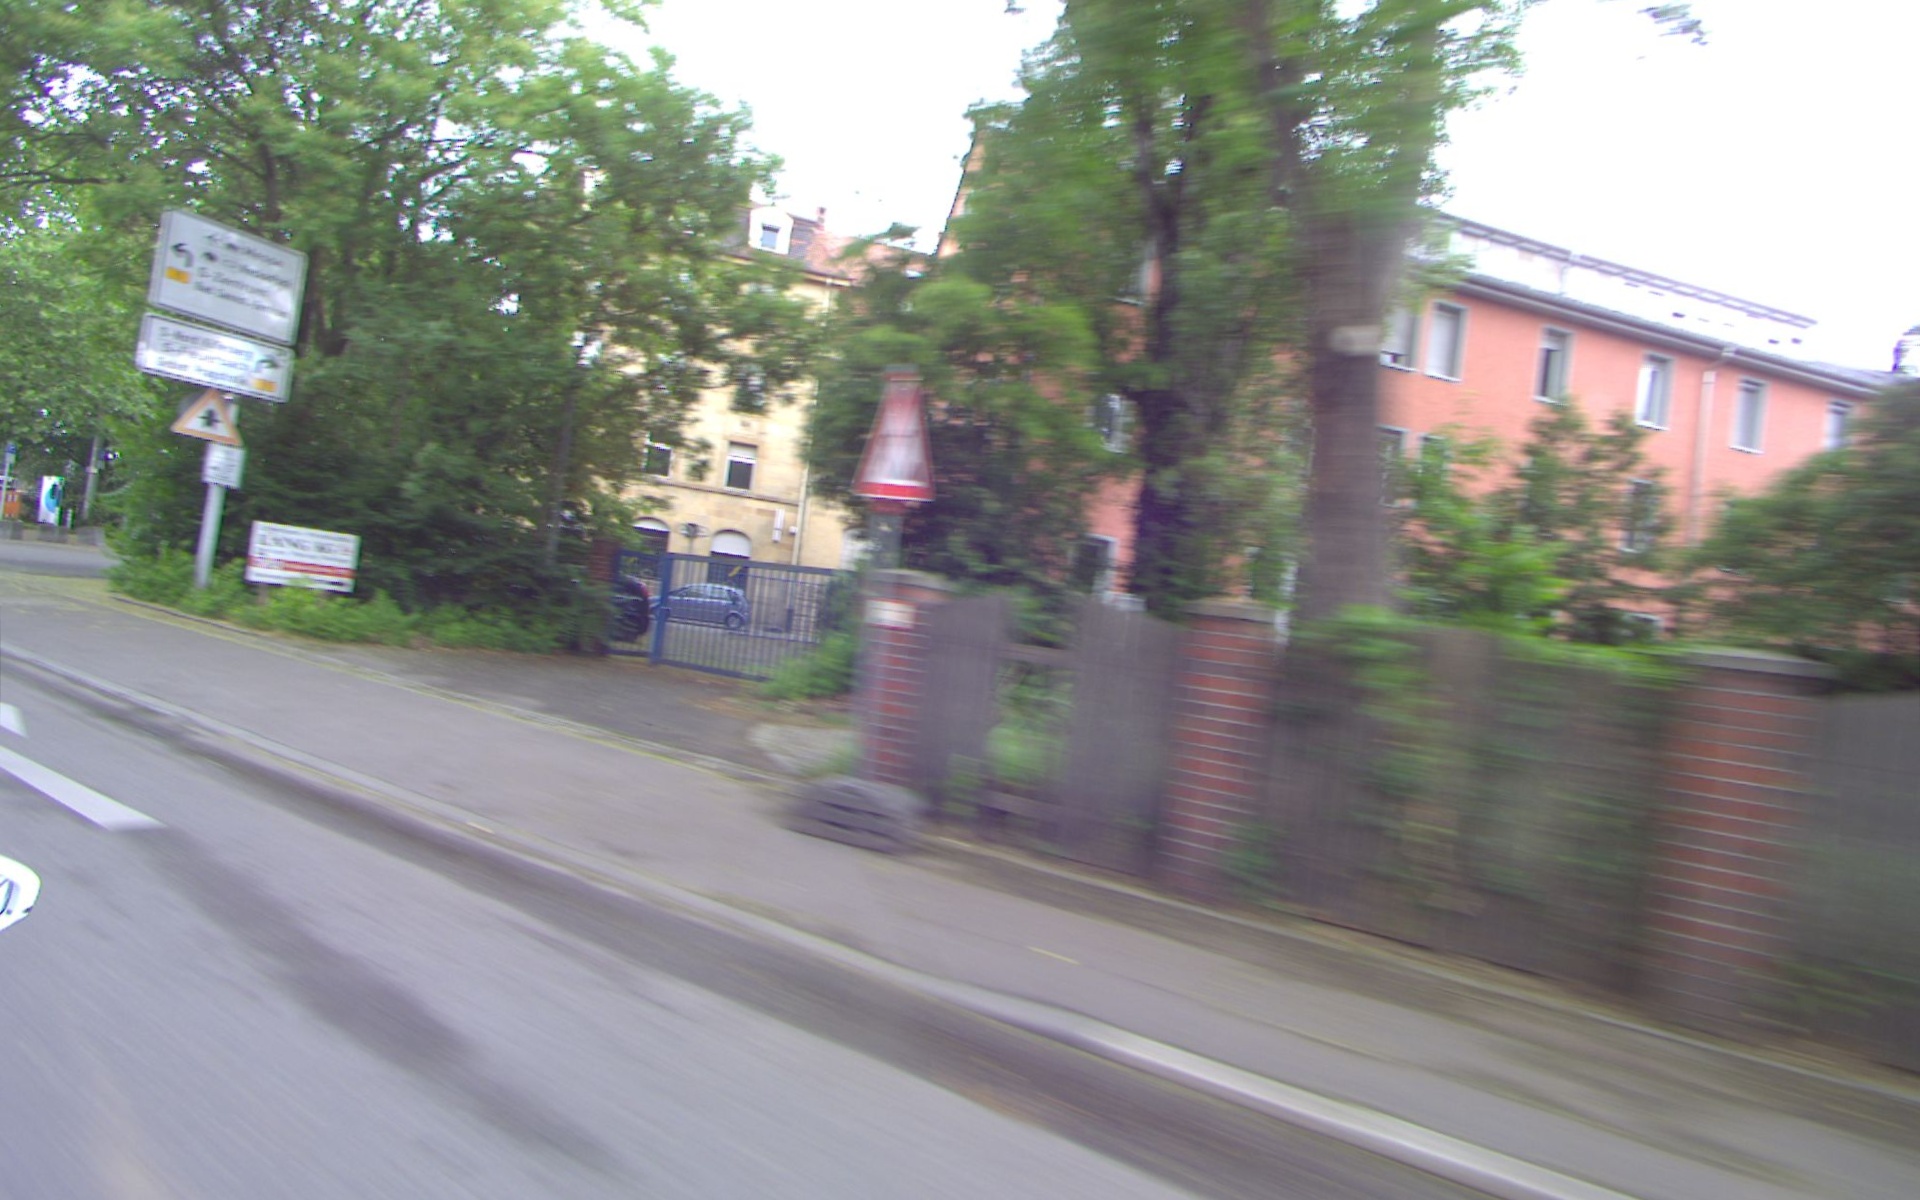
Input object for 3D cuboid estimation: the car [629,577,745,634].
[{"bbox_3d":[-10.064,0.213,37.392,3.935,1.609,1.617,7,-1,-12],"label":"car"}]
